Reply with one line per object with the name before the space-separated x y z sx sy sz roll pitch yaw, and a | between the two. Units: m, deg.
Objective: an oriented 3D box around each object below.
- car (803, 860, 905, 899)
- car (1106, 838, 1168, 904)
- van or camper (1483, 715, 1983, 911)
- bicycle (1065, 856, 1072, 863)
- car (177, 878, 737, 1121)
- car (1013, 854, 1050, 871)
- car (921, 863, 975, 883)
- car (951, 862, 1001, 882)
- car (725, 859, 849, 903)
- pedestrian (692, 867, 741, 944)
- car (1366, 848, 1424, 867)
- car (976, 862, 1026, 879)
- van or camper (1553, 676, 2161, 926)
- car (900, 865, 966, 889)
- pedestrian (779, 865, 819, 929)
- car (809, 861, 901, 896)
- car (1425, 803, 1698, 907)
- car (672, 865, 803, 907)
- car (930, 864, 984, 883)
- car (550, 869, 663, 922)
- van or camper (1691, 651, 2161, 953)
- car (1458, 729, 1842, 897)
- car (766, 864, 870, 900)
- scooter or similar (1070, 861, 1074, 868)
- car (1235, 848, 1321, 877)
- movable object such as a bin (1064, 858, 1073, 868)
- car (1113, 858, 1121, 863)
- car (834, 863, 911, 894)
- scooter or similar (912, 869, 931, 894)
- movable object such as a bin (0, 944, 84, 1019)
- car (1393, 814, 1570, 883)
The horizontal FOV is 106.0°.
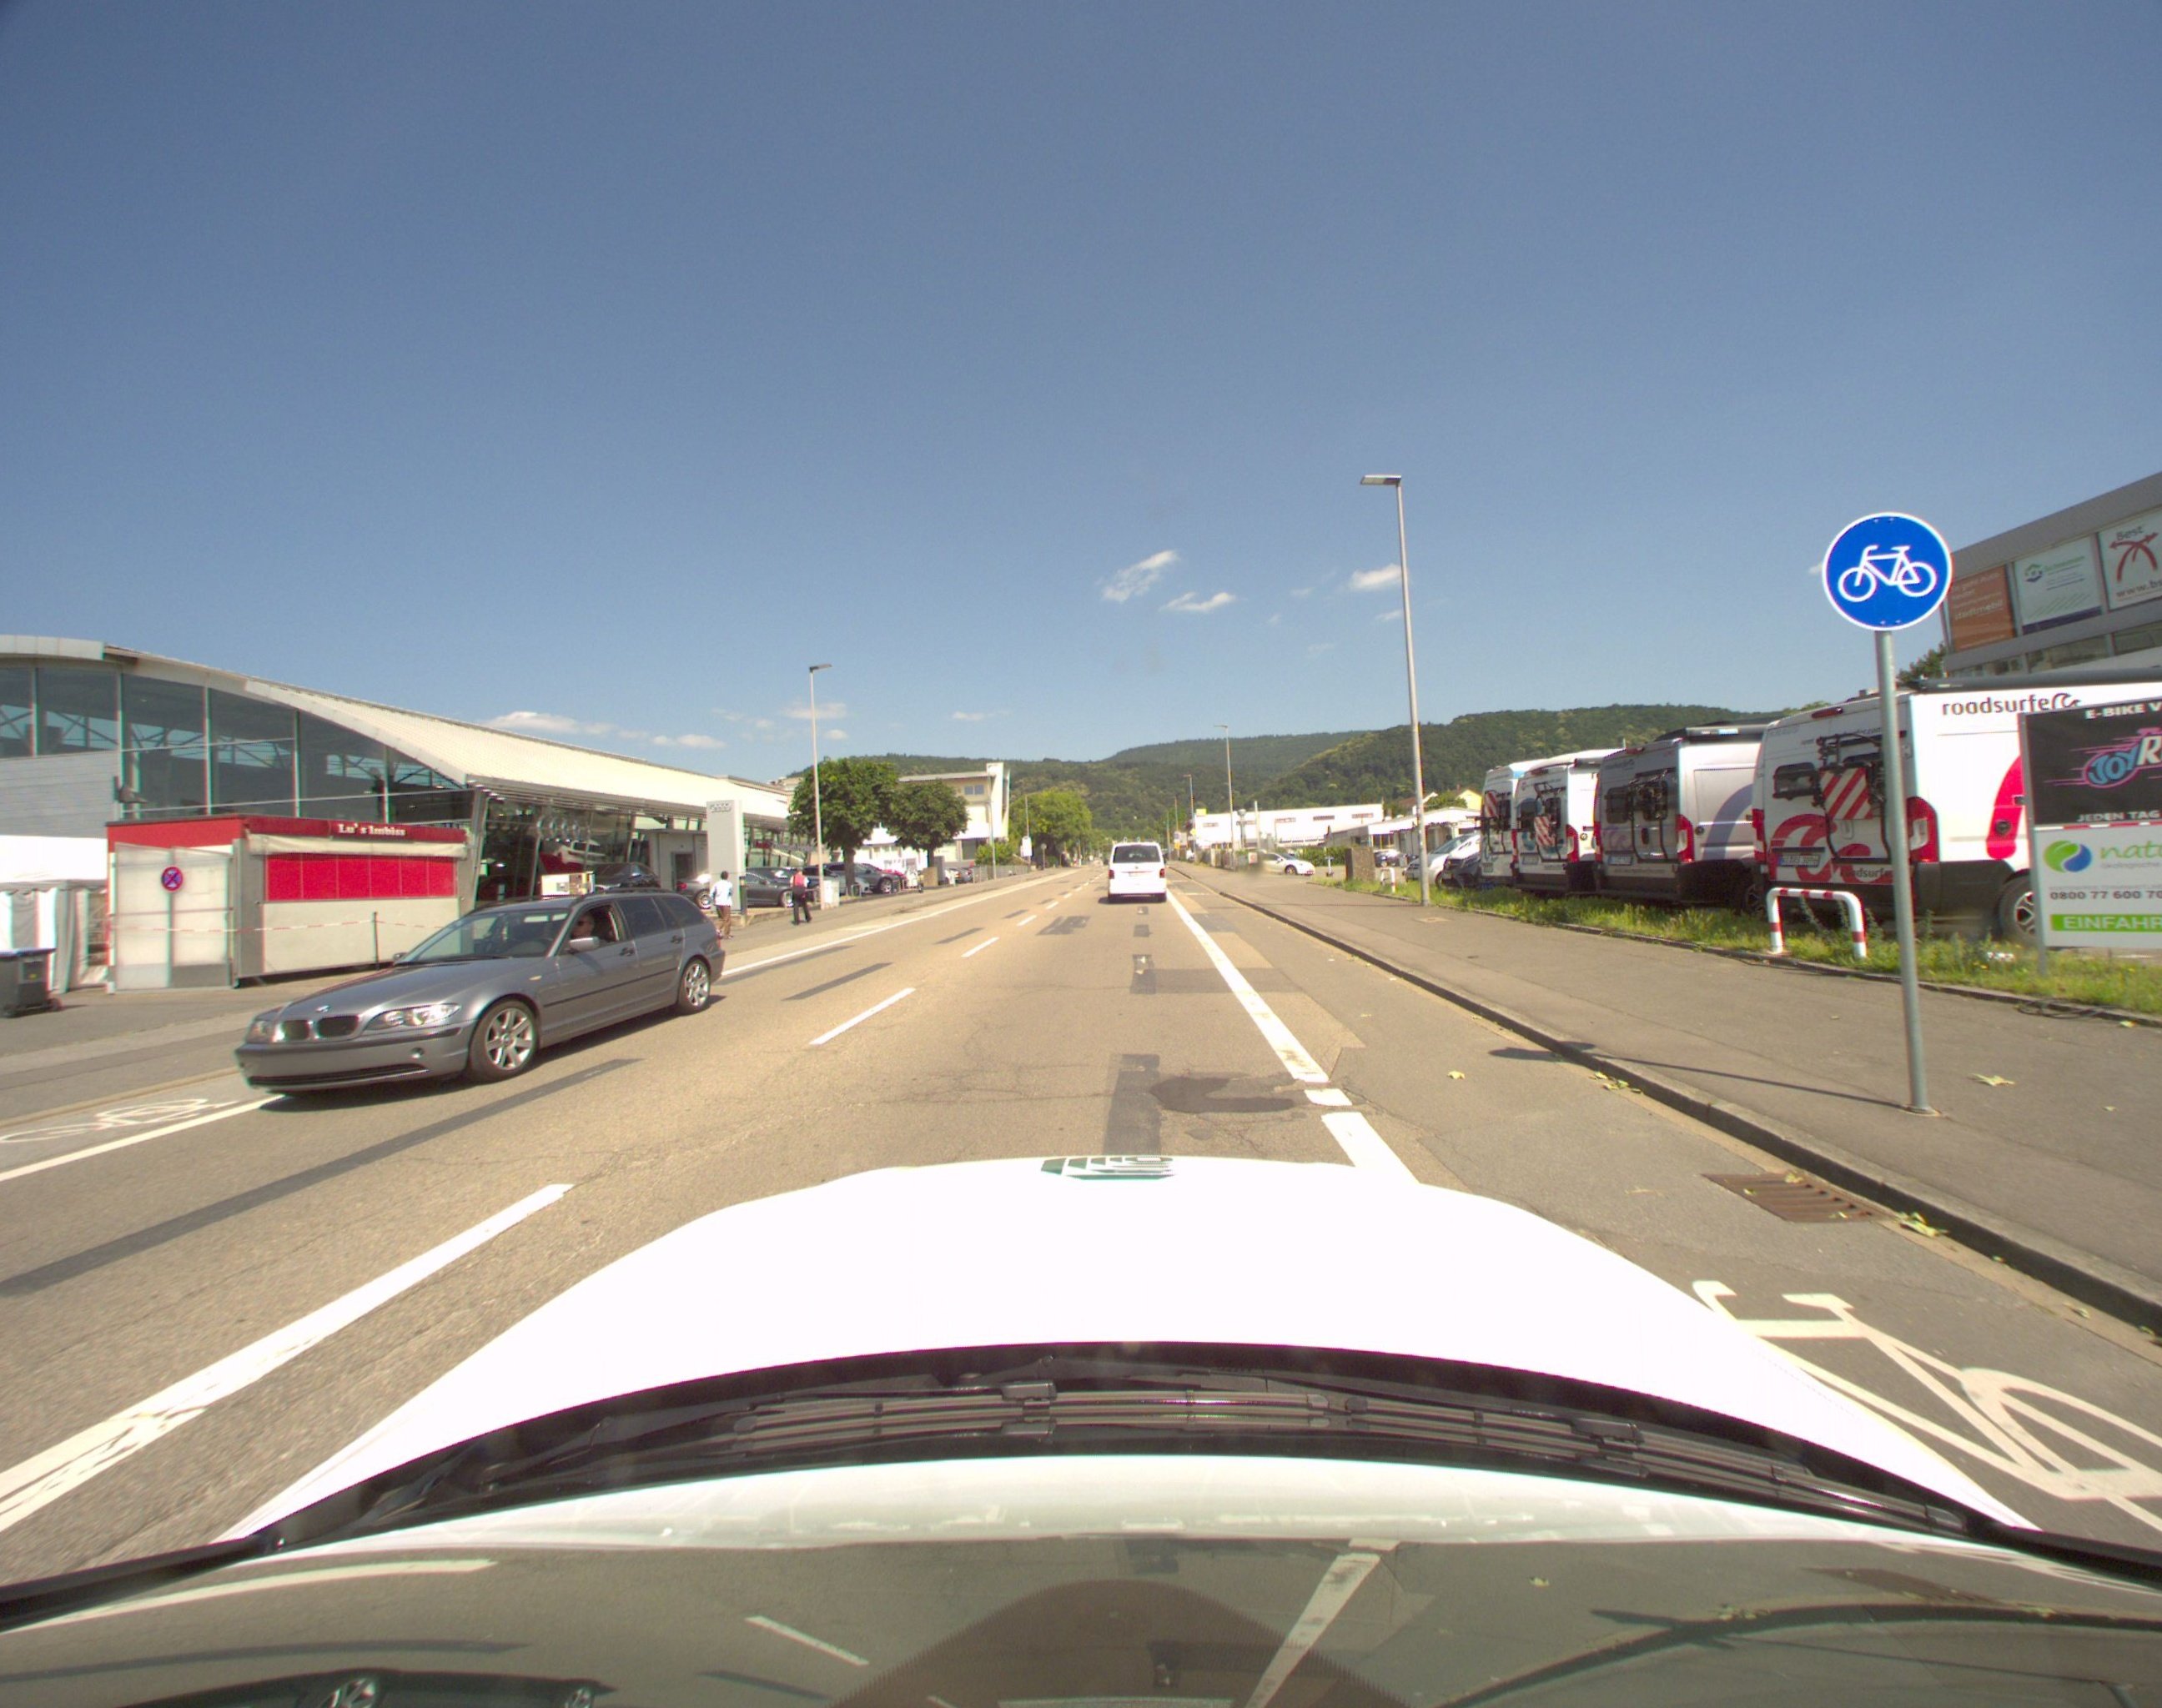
car | -11.505 1.273 41.392 4.596 1.696 1.840 -2 0 -32
car | 1.841 0.545 27.740 1.927 2.060 4.547 -1 0 2
van or camper | 10.902 -0.625 14.207 6.322 2.700 2.715 -4 -1 3
bicycle | -1.934 0.839 130.997 1.023 1.118 2.766 -1 -1 1
car | -5.176 1.056 7.708 1.735 1.404 4.327 -5 -1 2
car | -6.258 1.095 103.209 4.553 1.865 2.091 -3 0 -2
car | -10.264 1.466 63.039 3.883 1.445 1.820 1 -3 -5
car | -9.711 1.682 75.411 4.283 1.558 1.995 -4 -1 0
car | -12.090 1.072 33.534 4.498 1.608 1.946 1 2 -32
pedestrian | -9.167 1.272 20.515 0.721 1.848 0.911 -4 -1 0
car | 27.434 0.310 71.169 4.305 1.398 2.123 -3 -1 7
car | -8.195 1.680 83.385 4.720 1.481 2.049 -4 0 2
van or camper | 10.651 -0.645 11.439 6.322 2.716 2.715 -4 -1 3
car | -10.991 1.703 60.686 4.507 1.457 1.901 -4 -1 1
pedestrian | -8.617 1.290 24.924 0.730 1.867 1.047 -4 -1 0
car | -12.270 1.301 44.264 4.496 1.708 1.891 -1 -1 -32
car | 11.319 0.030 19.499 5.212 1.952 2.002 -4 0 3
car | -12.581 1.194 29.864 4.174 1.460 1.888 2 -3 -32
car | -9.905 1.549 65.431 3.972 1.443 1.859 0 -3 1
car | -16.661 1.400 28.876 1.995 1.719 4.713 0 -1 -11
van or camper | 10.455 -0.567 8.382 6.169 2.524 2.621 -4 -1 3
car | 11.618 -0.783 17.076 6.201 2.869 2.322 -4 -1 3
car | -12.068 1.259 37.401 4.218 1.495 1.856 -1 -2 -32
scooter or similar | -1.469 1.712 134.565 0.645 1.128 1.621 0 -1 -2
car | 12.339 0.586 51.296 2.035 1.622 4.985 4 -5 -43
movable object such as a bin | -2.202 1.559 140.499 1.446 1.590 1.305 -4 -1 -5
car | 9.951 1.861 227.230 1.985 1.370 4.331 -4 -1 4
car | -12.298 1.427 48.043 4.009 1.550 1.843 -2 0 -27
scooter or similar | -8.544 1.448 43.611 0.742 1.247 1.488 -3 -1 -4
movable object such as a bin | -14.542 1.749 11.314 0.567 0.922 0.692 -1 0 17
car | 10.884 -0.143 22.354 3.905 1.593 1.800 -3 0 3
